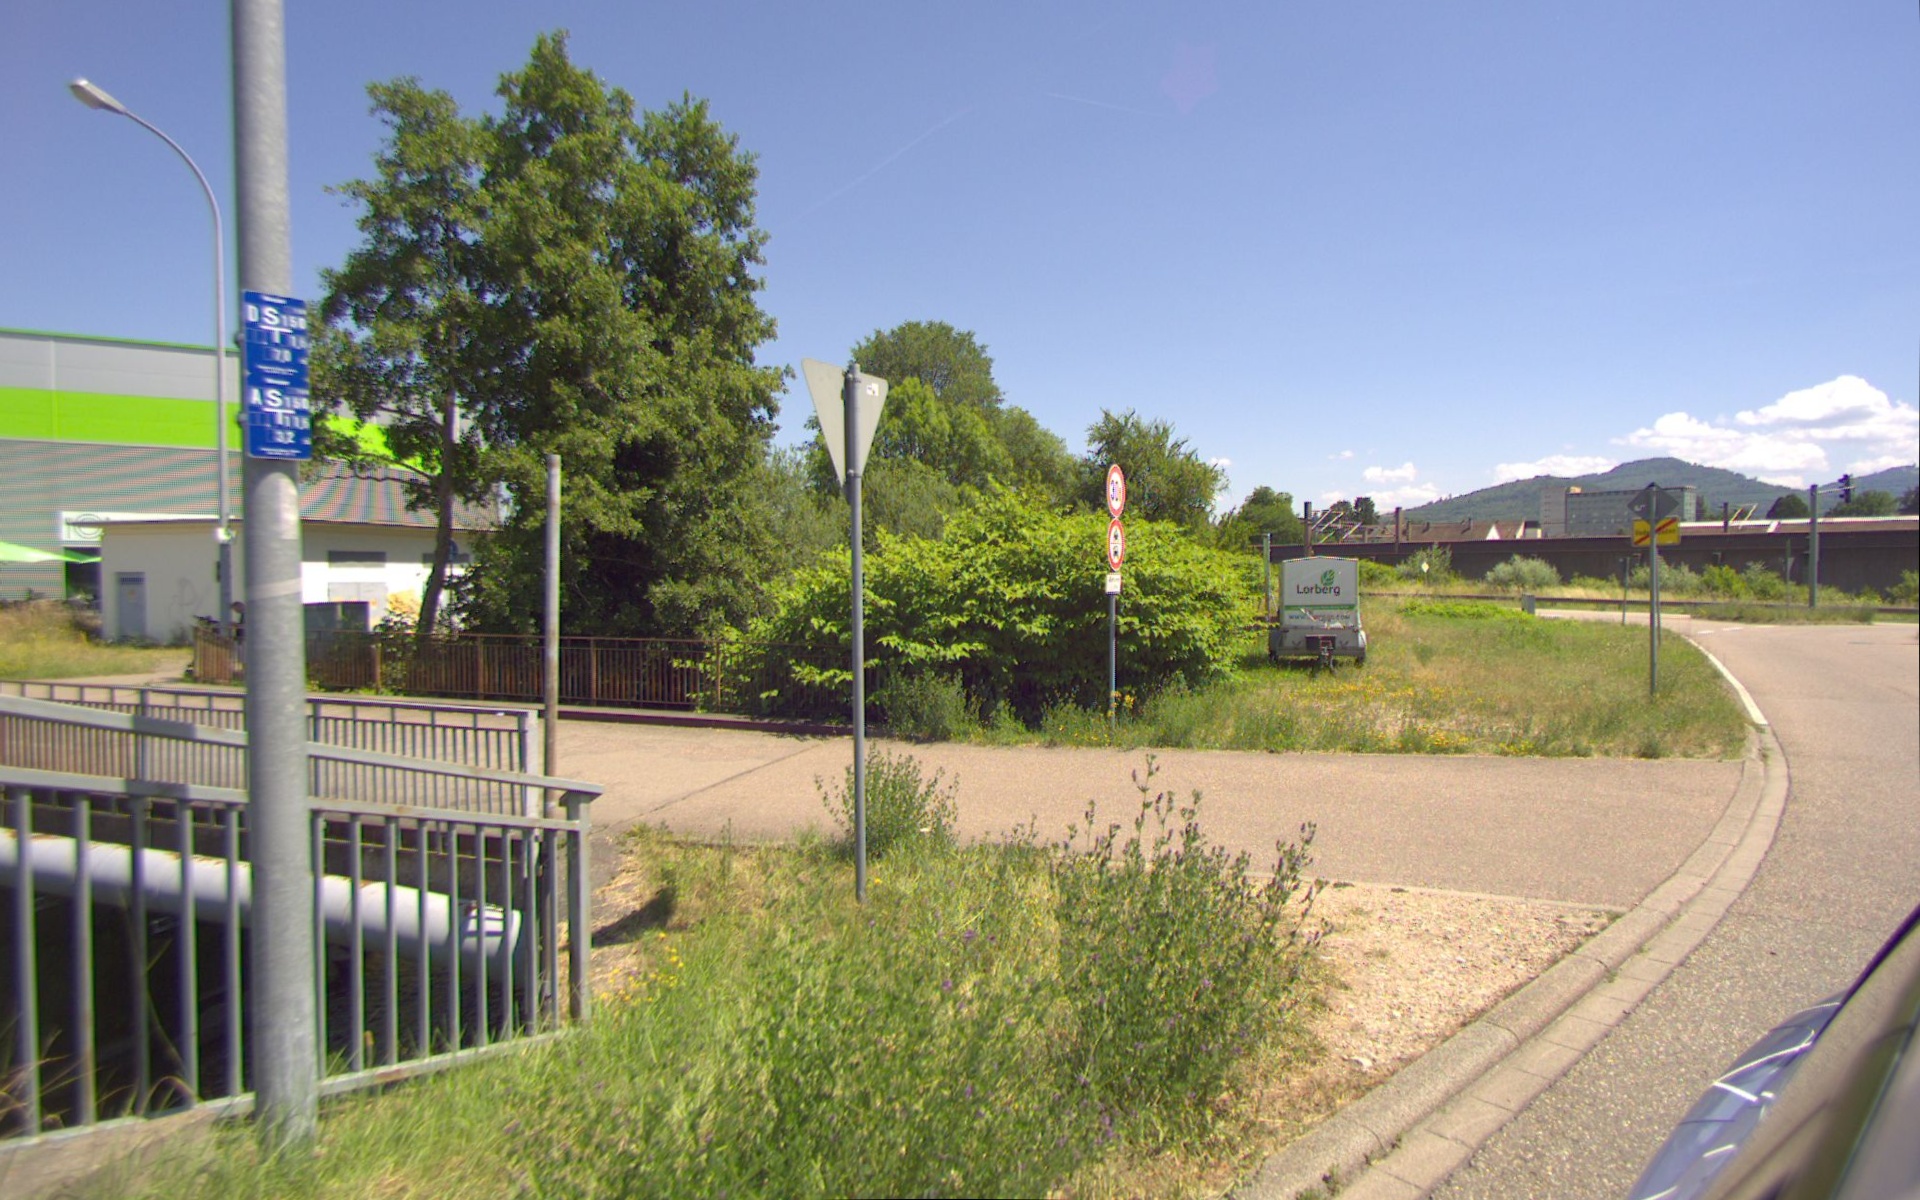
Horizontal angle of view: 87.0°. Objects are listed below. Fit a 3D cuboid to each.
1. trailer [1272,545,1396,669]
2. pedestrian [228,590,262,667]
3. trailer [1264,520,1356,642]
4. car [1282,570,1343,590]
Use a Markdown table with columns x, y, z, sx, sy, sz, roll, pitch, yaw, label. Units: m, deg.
| x | y | z | sx | sy | sz | roll | pitch | yaw | label |
| --- | --- | --- | --- | --- | --- | --- | --- | --- | --- |
| 7.035 | 0.058 | 19.381 | 1.825 | 2.103 | 3.952 | 0 | 2 | 15 | trailer |
| -14.799 | 0.584 | 20.948 | 0.434 | 1.558 | 0.410 | 0 | -1 | 28 | pedestrian |
| 8.280 | -0.464 | 24.188 | 1.825 | 2.703 | 3.134 | 0 | 1 | 15 | trailer |
| 27.726 | -1.614 | 79.776 | 1.753 | 1.472 | 4.524 | 0 | 2 | -29 | car |
